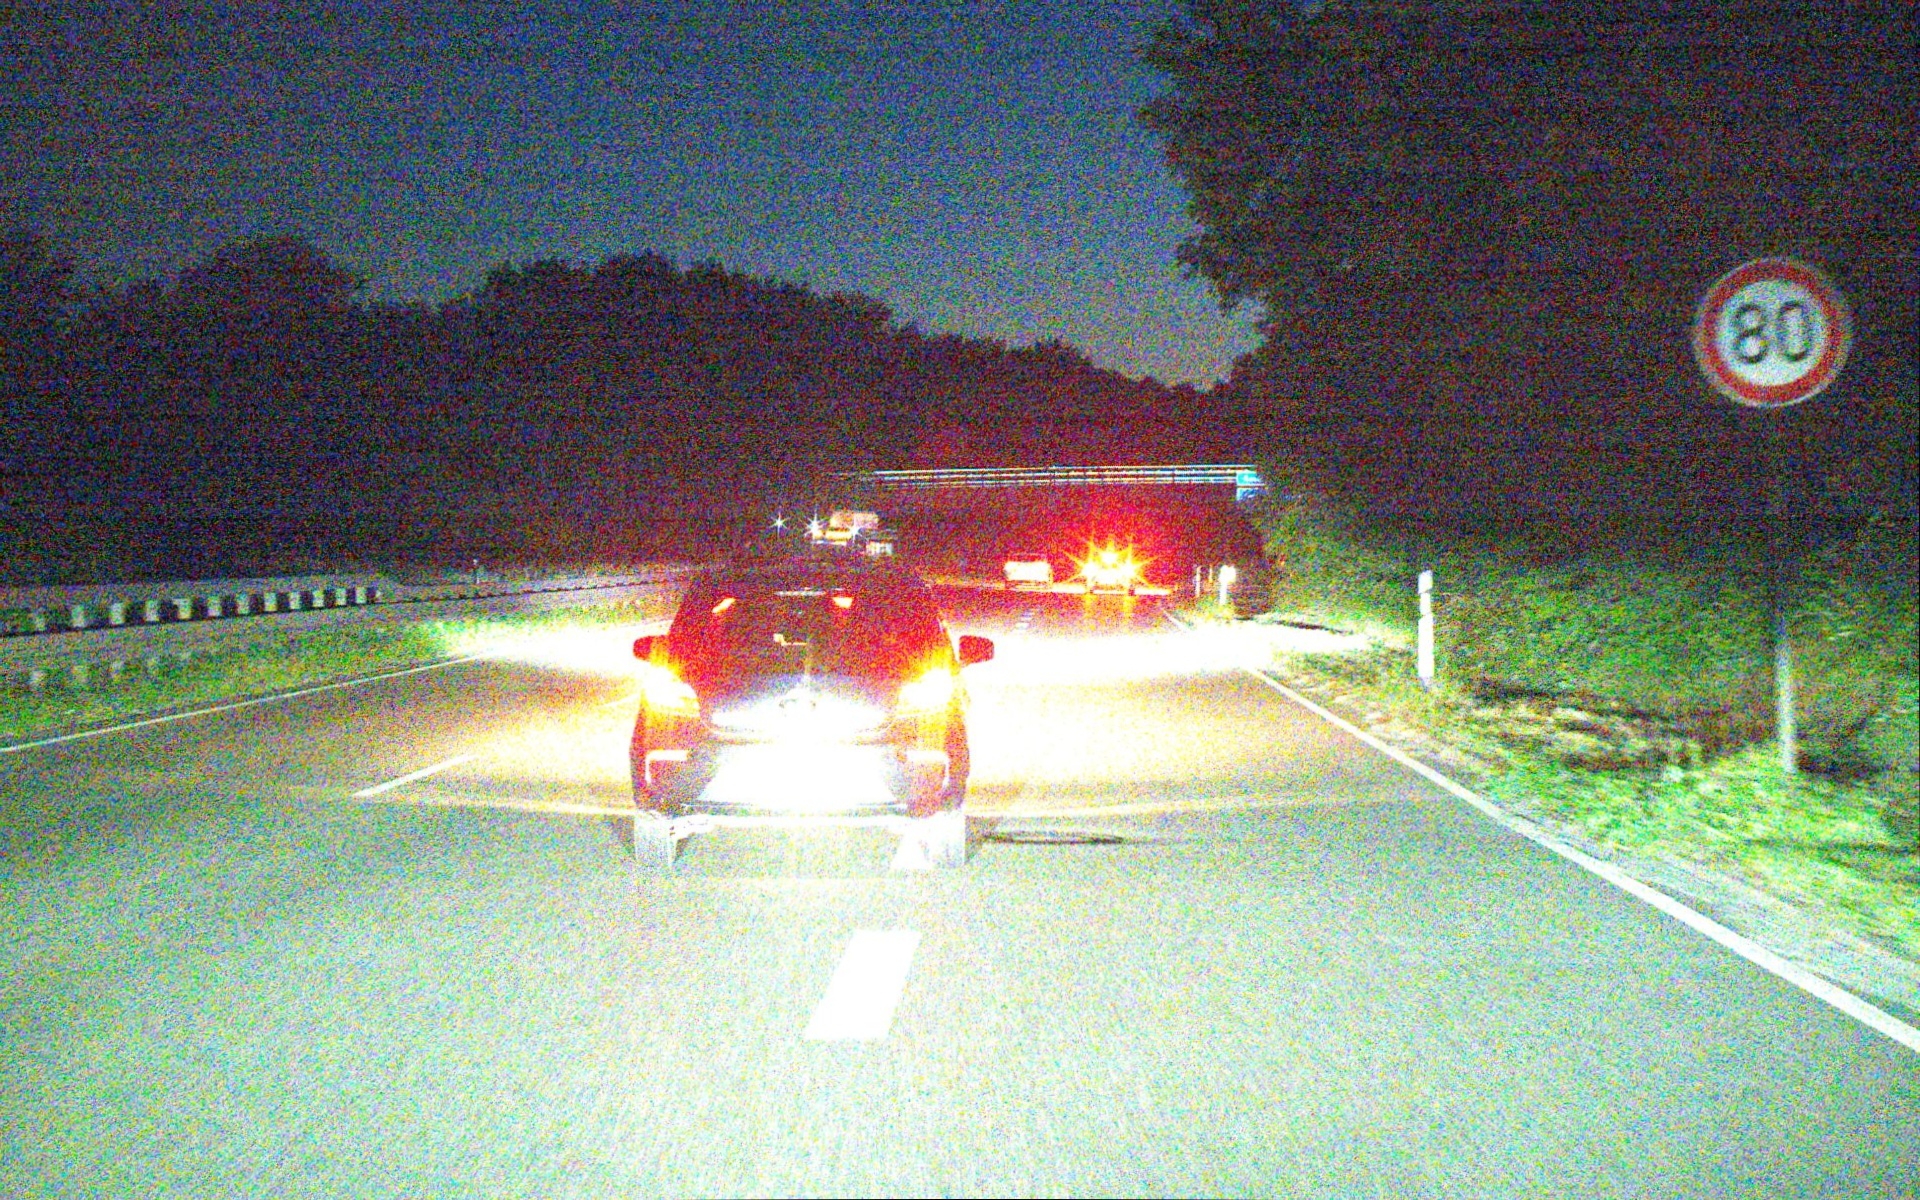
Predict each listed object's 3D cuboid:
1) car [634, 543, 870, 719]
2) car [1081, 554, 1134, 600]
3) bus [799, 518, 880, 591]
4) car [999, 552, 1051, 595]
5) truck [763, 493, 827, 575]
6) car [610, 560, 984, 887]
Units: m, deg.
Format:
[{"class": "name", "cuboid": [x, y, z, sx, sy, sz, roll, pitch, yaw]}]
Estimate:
[{"class": "car", "cuboid": [-1.998, 0.249, 34.362, 1.940, 1.603, 4.643, 1, 1, 1]}, {"class": "car", "cuboid": [5.347, -0.837, 124.853, 1.733, 1.612, 3.798, 1, 1, 0]}, {"class": "bus", "cuboid": [-5.793, -2.281, 167.076, 2.924, 3.376, 12.307, 1, 1, 3]}, {"class": "car", "cuboid": [2.630, -1.047, 138.339, 1.951, 1.533, 4.241, -4, -1, 2]}, {"class": "truck", "cuboid": [-8.544, -3.443, 178.704, 2.676, 4.163, 5.868, 0, 1, 3]}, {"class": "car", "cuboid": [-0.841, 0.545, 17.801, 1.691, 1.473, 4.000, 1, 1, -3]}]
